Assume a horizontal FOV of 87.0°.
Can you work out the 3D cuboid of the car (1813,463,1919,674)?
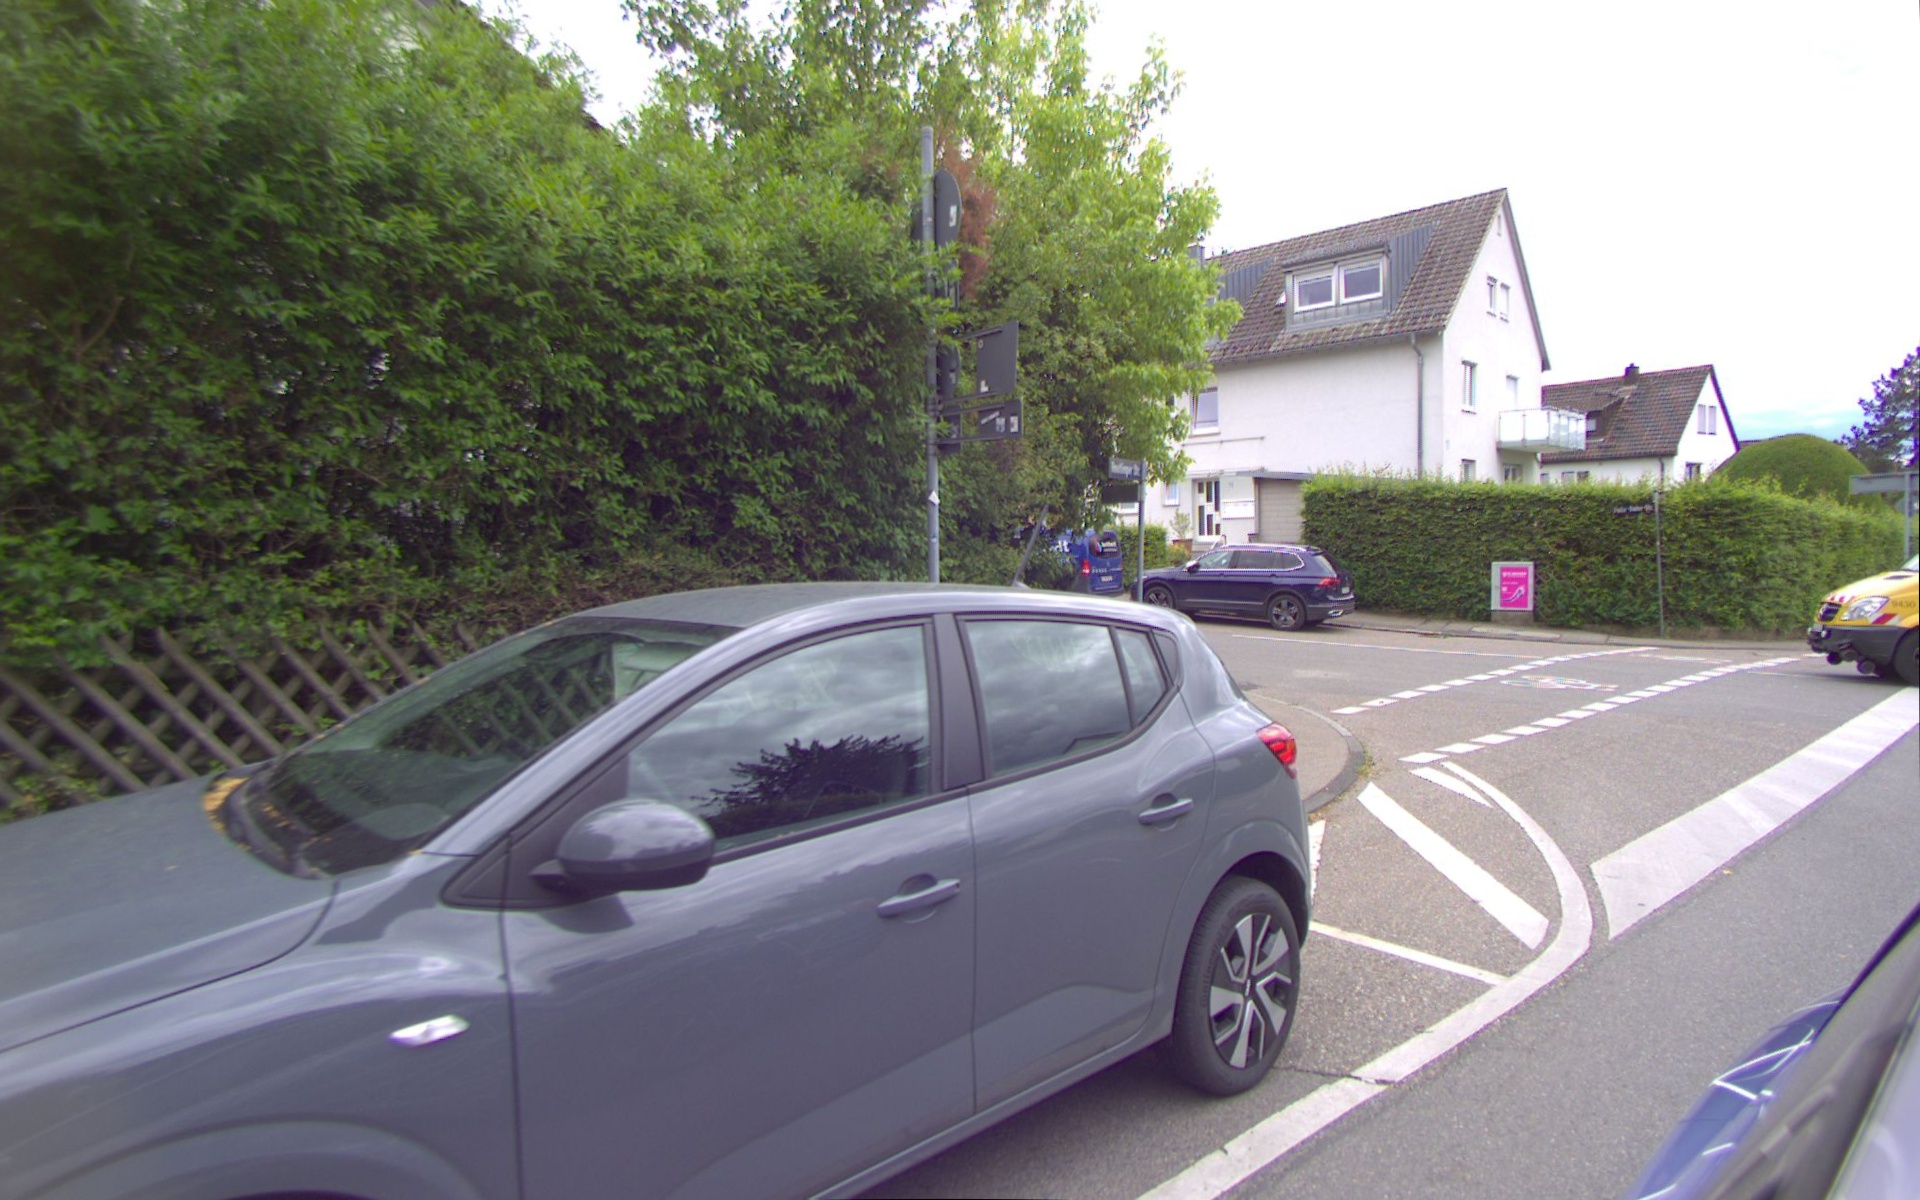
[{"bbox_3d":[14.689,-0.307,12.358,6.094,2.633,2.343,3,2,31],"label":"car"}]

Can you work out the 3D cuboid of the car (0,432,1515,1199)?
[{"bbox_3d":[-0.465,0.537,2.656,4.379,1.510,1.941,0,3,-41],"label":"car"}]

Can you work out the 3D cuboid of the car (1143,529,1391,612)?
[{"bbox_3d":[6.301,-0.658,21.007,4.494,1.452,1.974,4,3,37],"label":"car"}]

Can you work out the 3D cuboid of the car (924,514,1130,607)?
[{"bbox_3d":[1.549,-1.046,24.502,4.706,1.979,1.865,4,7,35],"label":"car"}]
